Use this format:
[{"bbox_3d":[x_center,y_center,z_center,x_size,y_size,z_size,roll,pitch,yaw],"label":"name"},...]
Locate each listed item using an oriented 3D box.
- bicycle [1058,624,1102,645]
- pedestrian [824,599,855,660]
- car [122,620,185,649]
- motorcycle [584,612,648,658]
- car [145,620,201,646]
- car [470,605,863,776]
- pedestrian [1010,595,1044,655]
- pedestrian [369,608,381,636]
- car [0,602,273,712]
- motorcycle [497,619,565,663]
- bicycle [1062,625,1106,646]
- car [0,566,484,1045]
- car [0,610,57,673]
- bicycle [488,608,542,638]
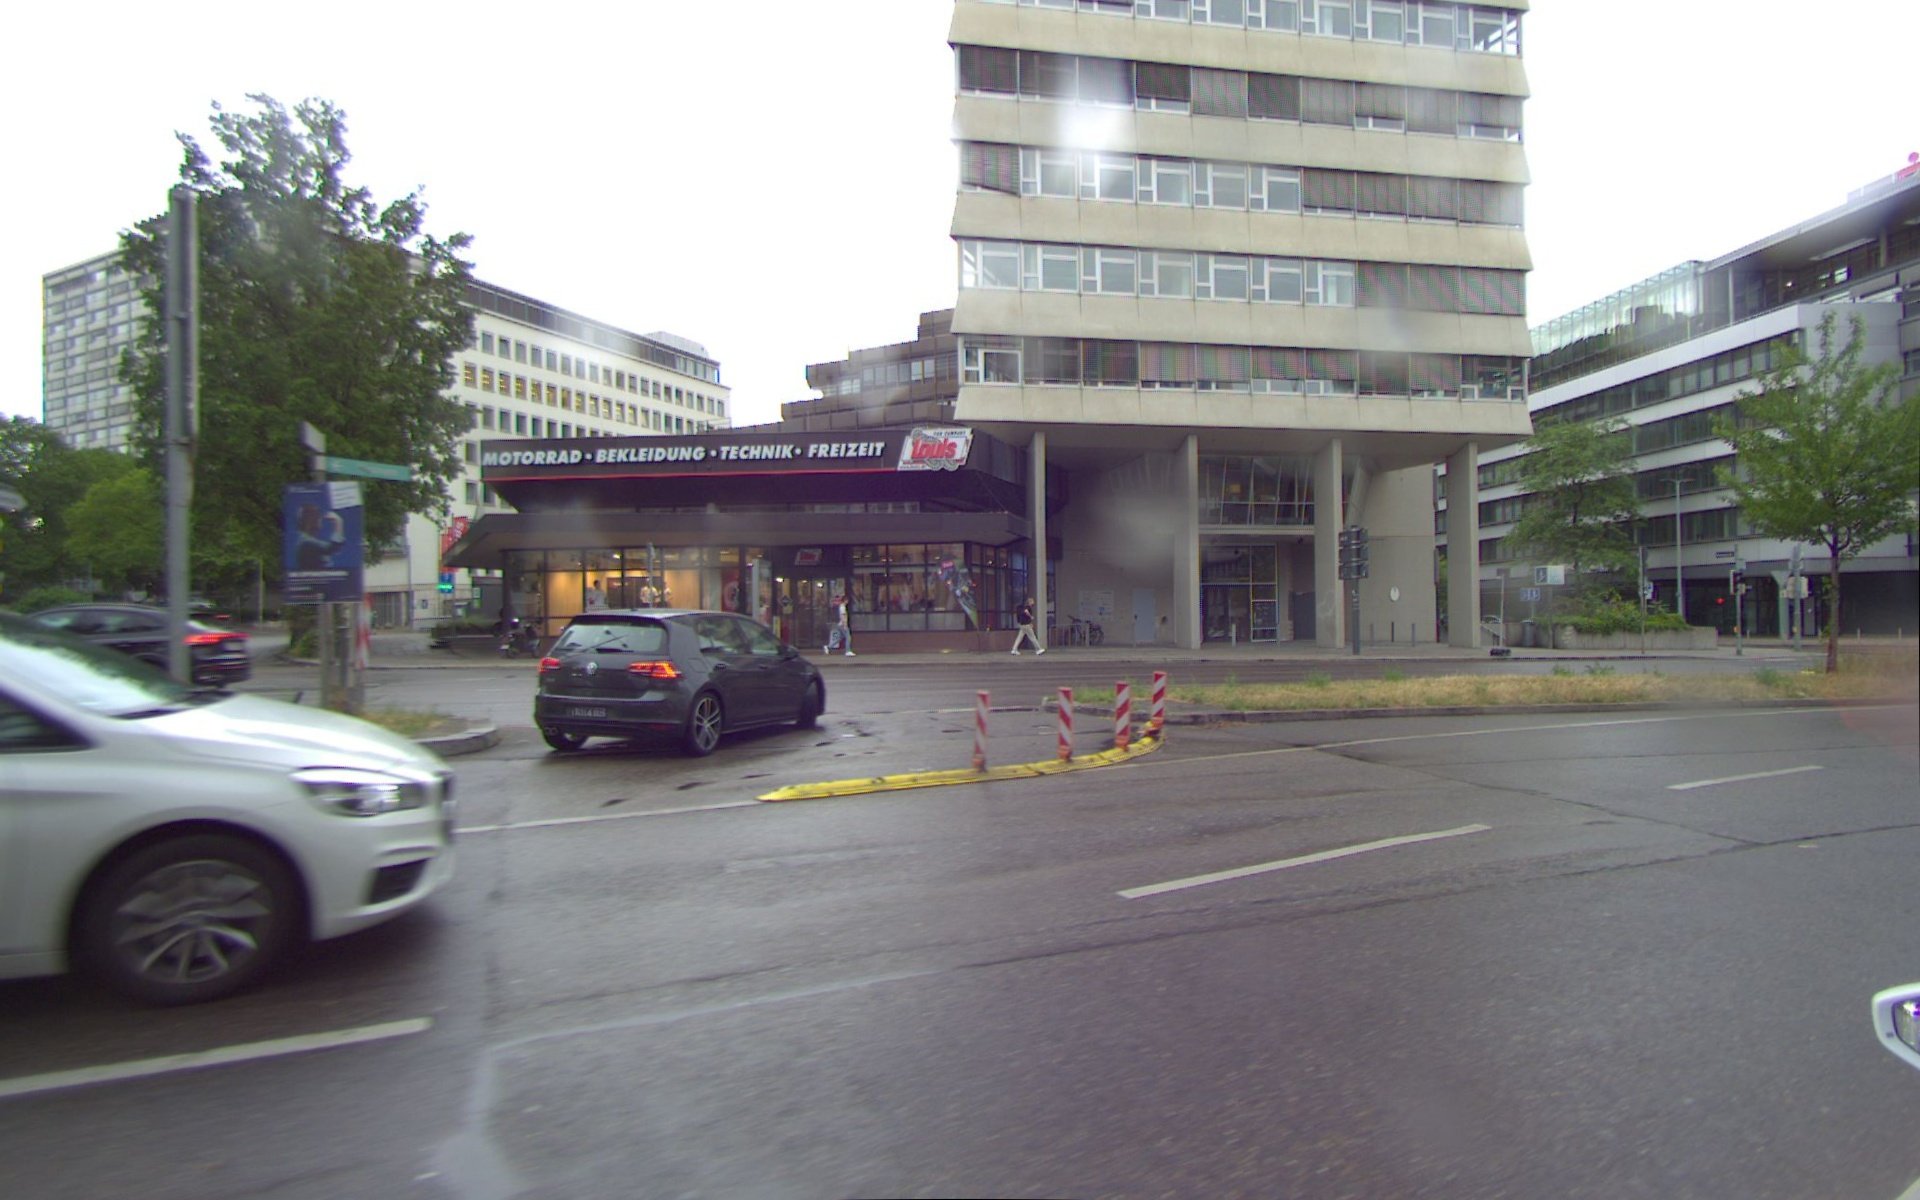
[{"bbox_3d":[4.941,1.430,41.304,1.741,0.823,0.454,1,0,-9],"label":"bicycle"},{"bbox_3d":[-3.742,0.904,31.193,0.908,1.857,0.818,0,-1,-11],"label":"pedestrian"},{"bbox_3d":[-40.365,1.722,50.376,1.825,1.305,3.968,1,0,-30],"label":"car"},{"bbox_3d":[-11.058,1.084,32.386,0.788,1.392,2.894,1,0,6],"label":"motorcycle"},{"bbox_3d":[-43.443,1.808,55.513,1.825,1.305,3.968,1,0,-30],"label":"car"},{"bbox_3d":[-2.890,0.824,11.178,1.808,1.470,4.689,0,-1,19],"label":"car"},{"bbox_3d":[2.111,0.785,31.639,0.908,1.857,0.728,1,-1,-11],"label":"pedestrian"},{"bbox_3d":[-40.689,1.539,69.845,0.721,1.948,0.917,1,0,-30],"label":"pedestrian"},{"bbox_3d":[-13.474,0.825,15.399,4.405,1.564,1.995,0,-1,-13],"label":"car"},{"bbox_3d":[-13.978,1.302,32.825,0.709,1.351,2.822,1,0,7],"label":"motorcycle"},{"bbox_3d":[5.024,1.427,40.718,1.741,0.823,0.454,1,0,-9],"label":"bicycle"},{"bbox_3d":[-4.180,0.688,3.851,4.232,1.594,1.777,1,-1,-27],"label":"car"},{"bbox_3d":[-27.535,1.135,28.574,1.977,1.662,3.967,1,0,-31],"label":"car"},{"bbox_3d":[-20.239,1.042,45.675,2.181,1.345,0.913,1,0,-30],"label":"bicycle"}]
